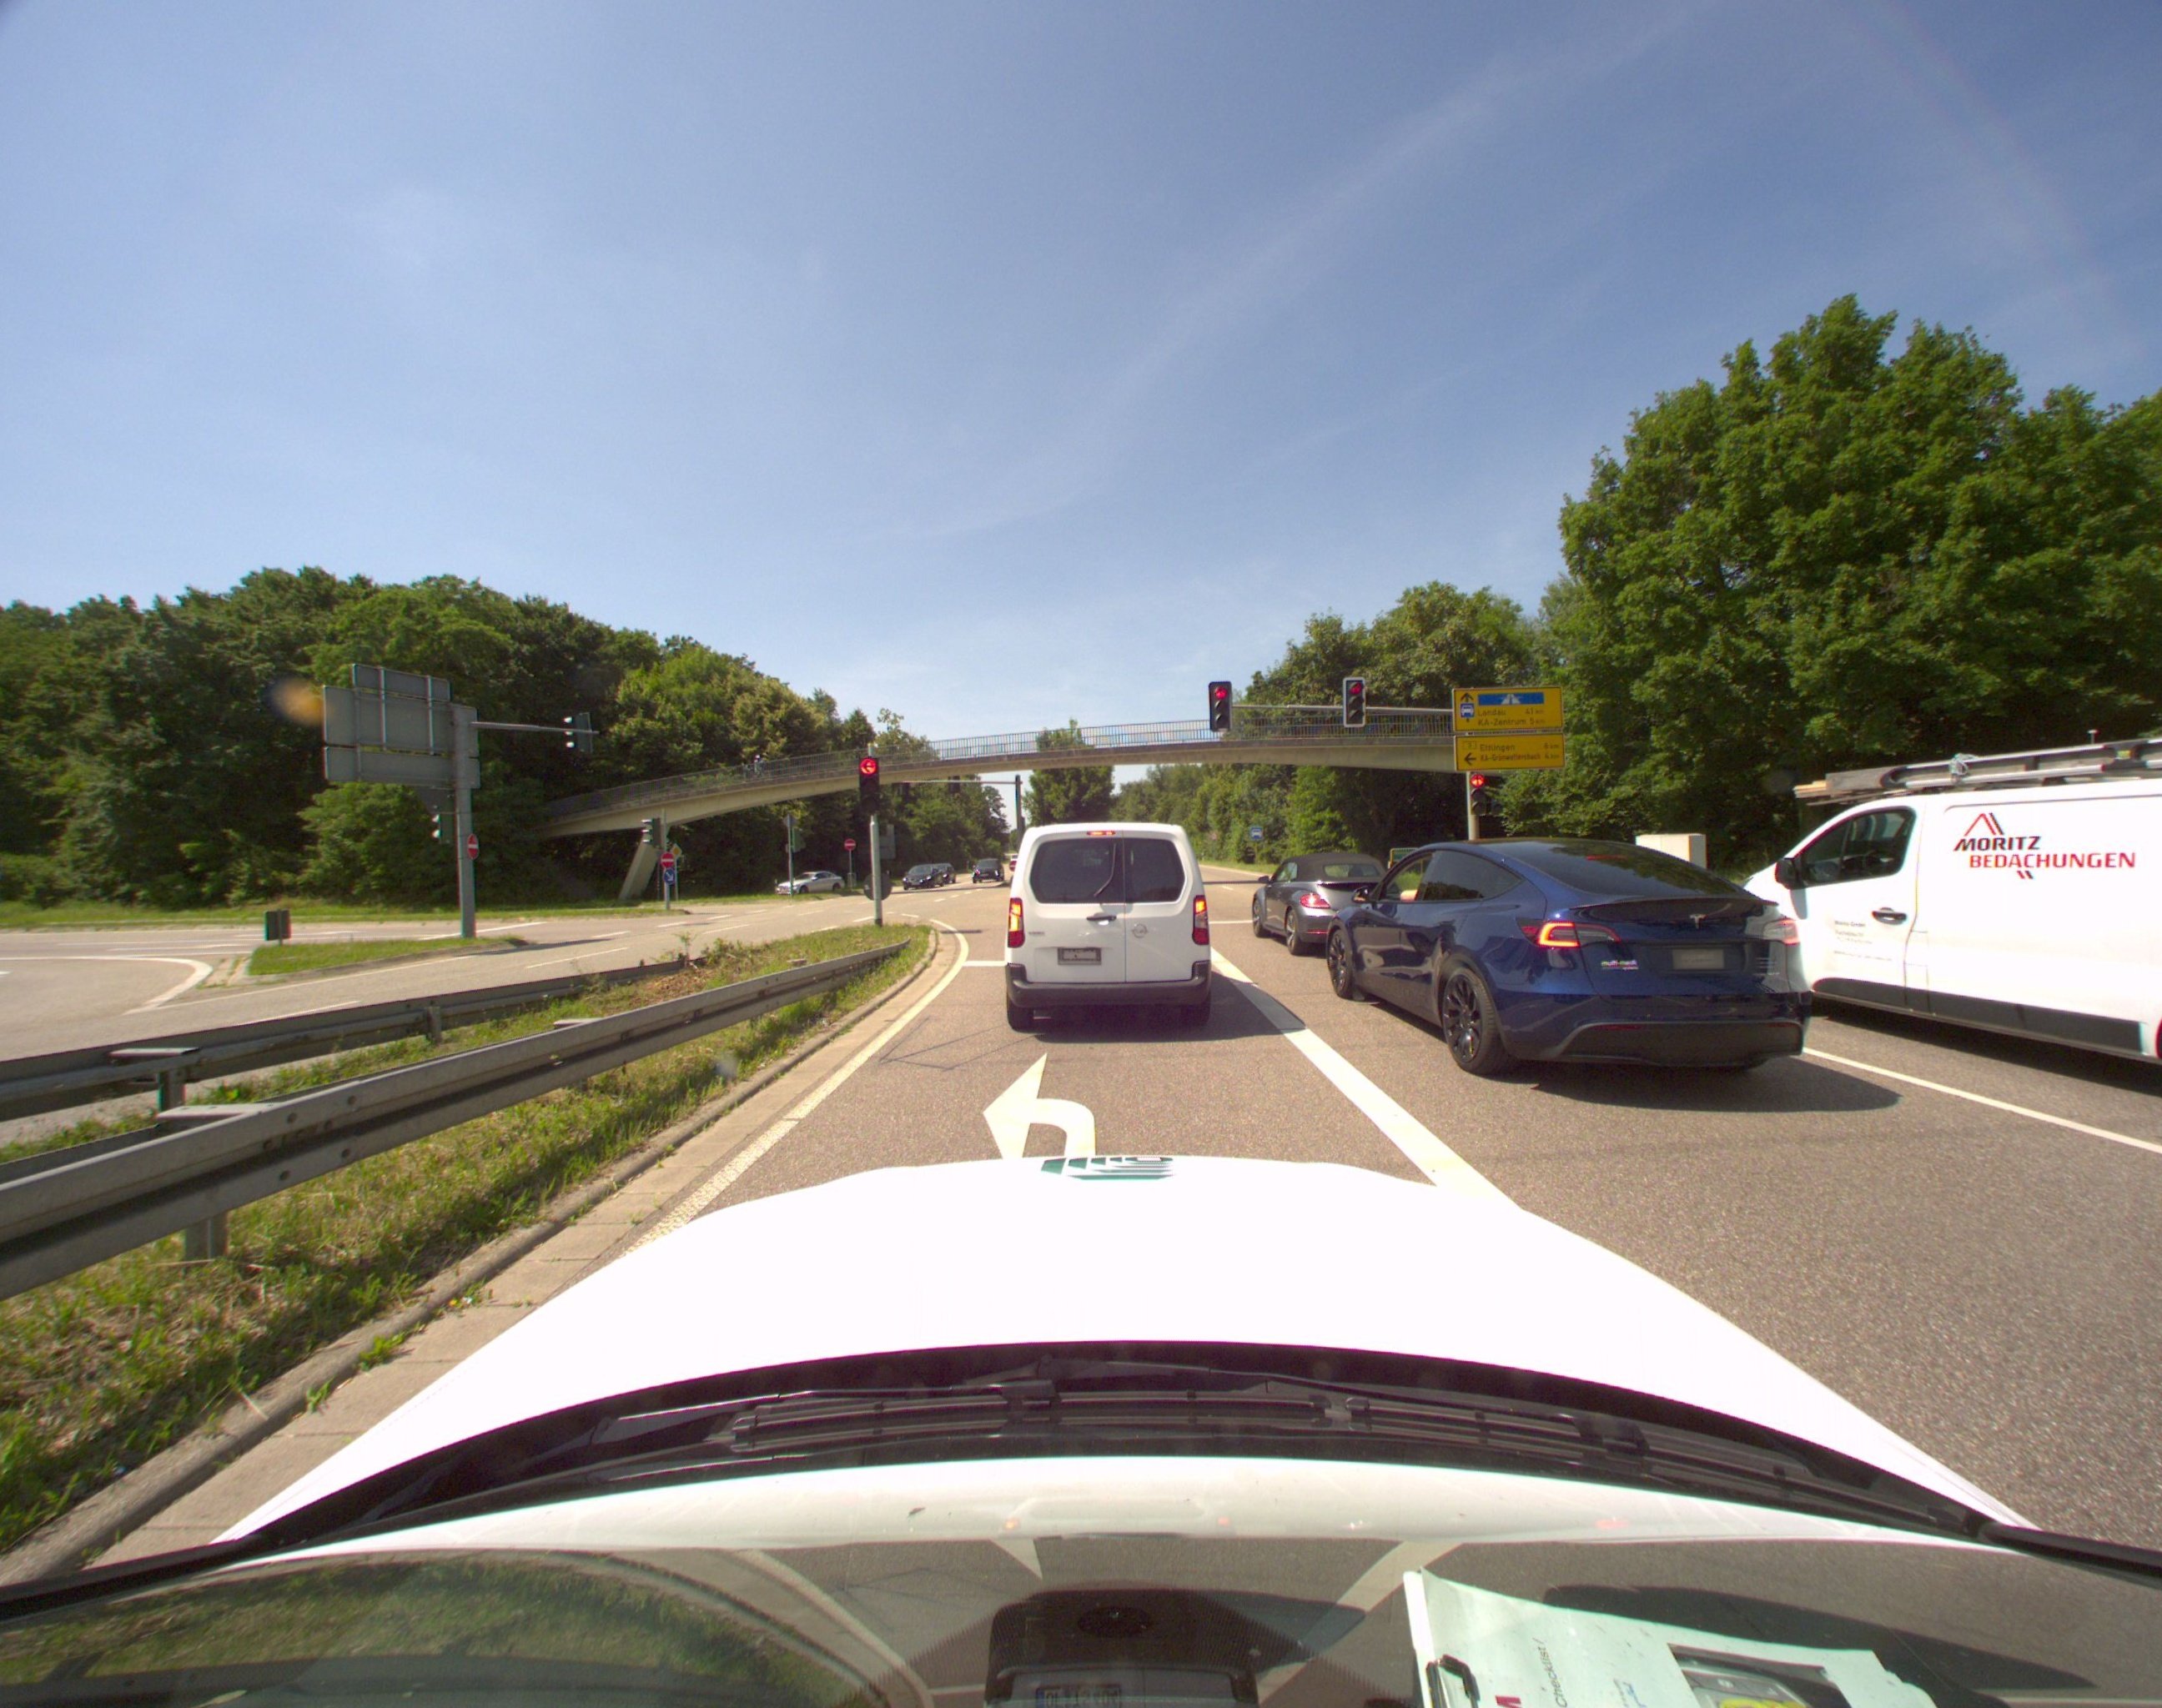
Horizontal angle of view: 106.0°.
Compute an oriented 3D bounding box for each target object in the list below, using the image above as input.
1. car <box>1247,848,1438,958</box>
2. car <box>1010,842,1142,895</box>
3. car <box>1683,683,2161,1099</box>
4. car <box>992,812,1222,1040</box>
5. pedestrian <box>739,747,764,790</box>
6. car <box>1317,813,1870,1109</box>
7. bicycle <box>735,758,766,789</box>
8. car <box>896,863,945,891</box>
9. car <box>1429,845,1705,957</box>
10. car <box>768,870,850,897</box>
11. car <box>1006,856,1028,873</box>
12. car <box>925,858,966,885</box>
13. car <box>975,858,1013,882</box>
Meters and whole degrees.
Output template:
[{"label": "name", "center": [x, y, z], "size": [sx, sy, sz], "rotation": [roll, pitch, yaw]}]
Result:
[{"label": "car", "center": [3.951, 0.663, 13.018], "size": [1.893, 1.478, 3.940], "rotation": [-1, 0, 2]}, {"label": "car", "center": [-0.099, 0.532, 31.696], "size": [2.022, 1.699, 5.117], "rotation": [-4, 0, 44]}, {"label": "car", "center": [7.098, 0.201, 5.811], "size": [1.925, 2.349, 5.076], "rotation": [-1, 0, 1]}, {"label": "car", "center": [0.246, 0.559, 8.565], "size": [1.843, 1.825, 3.982], "rotation": [-1, 1, 1]}, {"label": "pedestrian", "center": [-17.771, -4.609, 43.945], "size": [0.776, 2.139, 0.936], "rotation": [-4, -2, 17]}, {"label": "car", "center": [3.518, 0.596, 6.821], "size": [1.893, 1.644, 4.522], "rotation": [-1, 0, 2]}, {"label": "bicycle", "center": [-17.731, -4.298, 43.667], "size": [1.514, 1.474, 0.472], "rotation": [-4, -2, 17]}, {"label": "car", "center": [-9.678, 1.348, 49.381], "size": [2.001, 1.460, 4.057], "rotation": [-3, 0, 2]}, {"label": "car", "center": [7.378, 0.619, 12.991], "size": [1.893, 1.478, 4.382], "rotation": [-1, 0, 2]}, {"label": "car", "center": [-16.974, 1.819, 51.097], "size": [1.975, 1.373, 4.810], "rotation": [-3, 0, 26]}, {"label": "car", "center": [-8.371, 1.362, 107.591], "size": [2.200, 1.993, 5.490], "rotation": [-3, 0, 2]}, {"label": "car", "center": [-9.284, 1.184, 56.265], "size": [1.986, 1.665, 4.002], "rotation": [-3, 0, 2]}, {"label": "car", "center": [-5.734, 1.016, 54.349], "size": [1.986, 1.523, 4.029], "rotation": [0, 0, 2]}]
